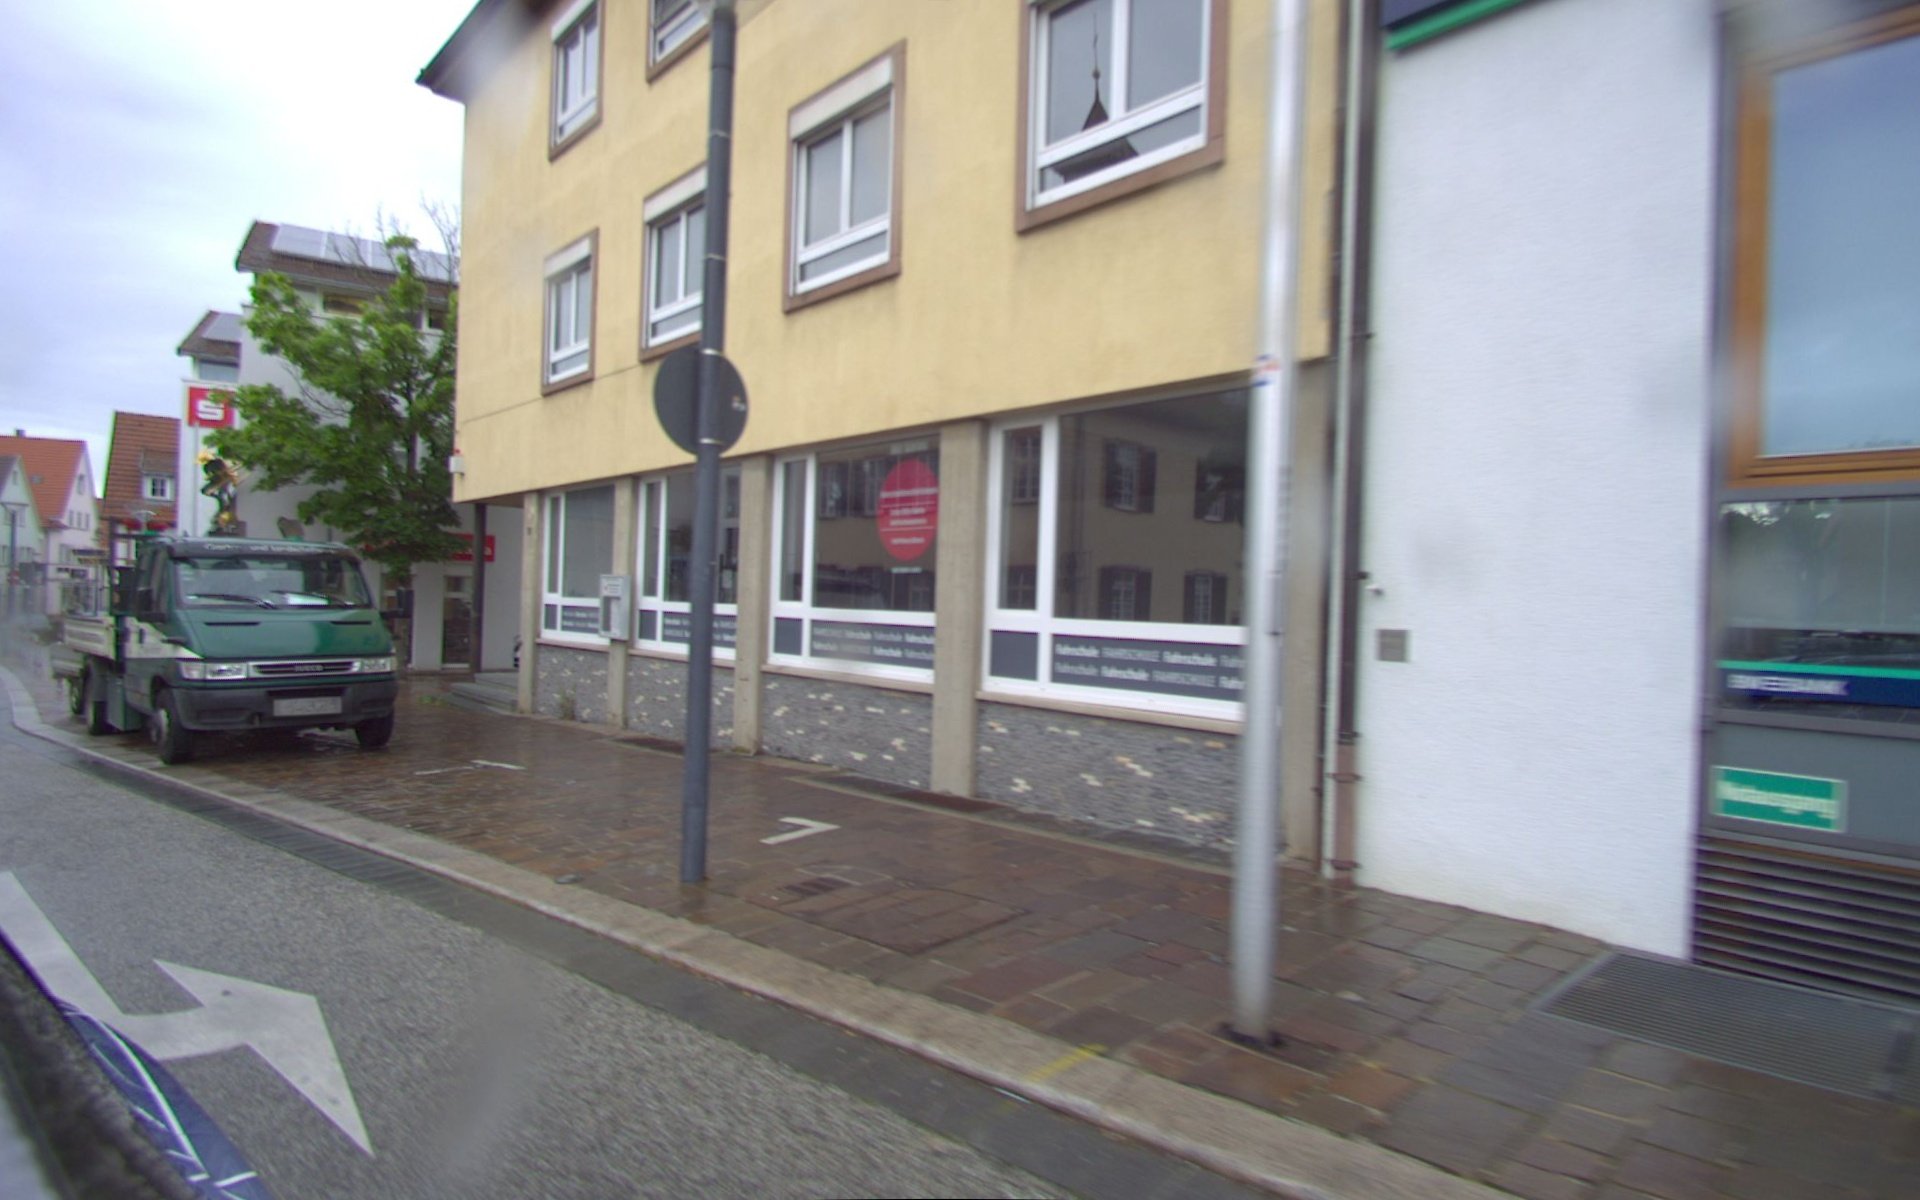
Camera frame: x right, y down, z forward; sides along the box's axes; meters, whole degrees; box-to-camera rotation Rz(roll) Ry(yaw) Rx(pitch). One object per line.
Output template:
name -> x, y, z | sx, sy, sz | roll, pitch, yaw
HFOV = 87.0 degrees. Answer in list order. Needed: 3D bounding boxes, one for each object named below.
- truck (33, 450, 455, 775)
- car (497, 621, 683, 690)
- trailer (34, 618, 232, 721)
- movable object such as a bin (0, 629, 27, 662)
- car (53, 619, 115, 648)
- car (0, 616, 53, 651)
truck -> -8.619, 0.230, 11.844 | 6.595, 2.816, 2.448 | -2, -4, 41
car -> -9.094, 1.365, 24.960 | 3.932, 1.576, 1.971 | 3, -3, -33
trailer -> -12.282, 0.987, 14.983 | 3.158, 1.357, 1.710 | -2, -4, 41
movable object such as a bin -> -31.594, 1.518, 33.764 | 0.650, 1.104, 0.614 | 3, -3, -42
car -> -49.044, 1.836, 56.722 | 1.966, 1.541, 4.012 | -1, 0, -31
car -> -42.841, 1.505, 46.435 | 1.670, 1.497, 4.003 | 3, -2, -44
